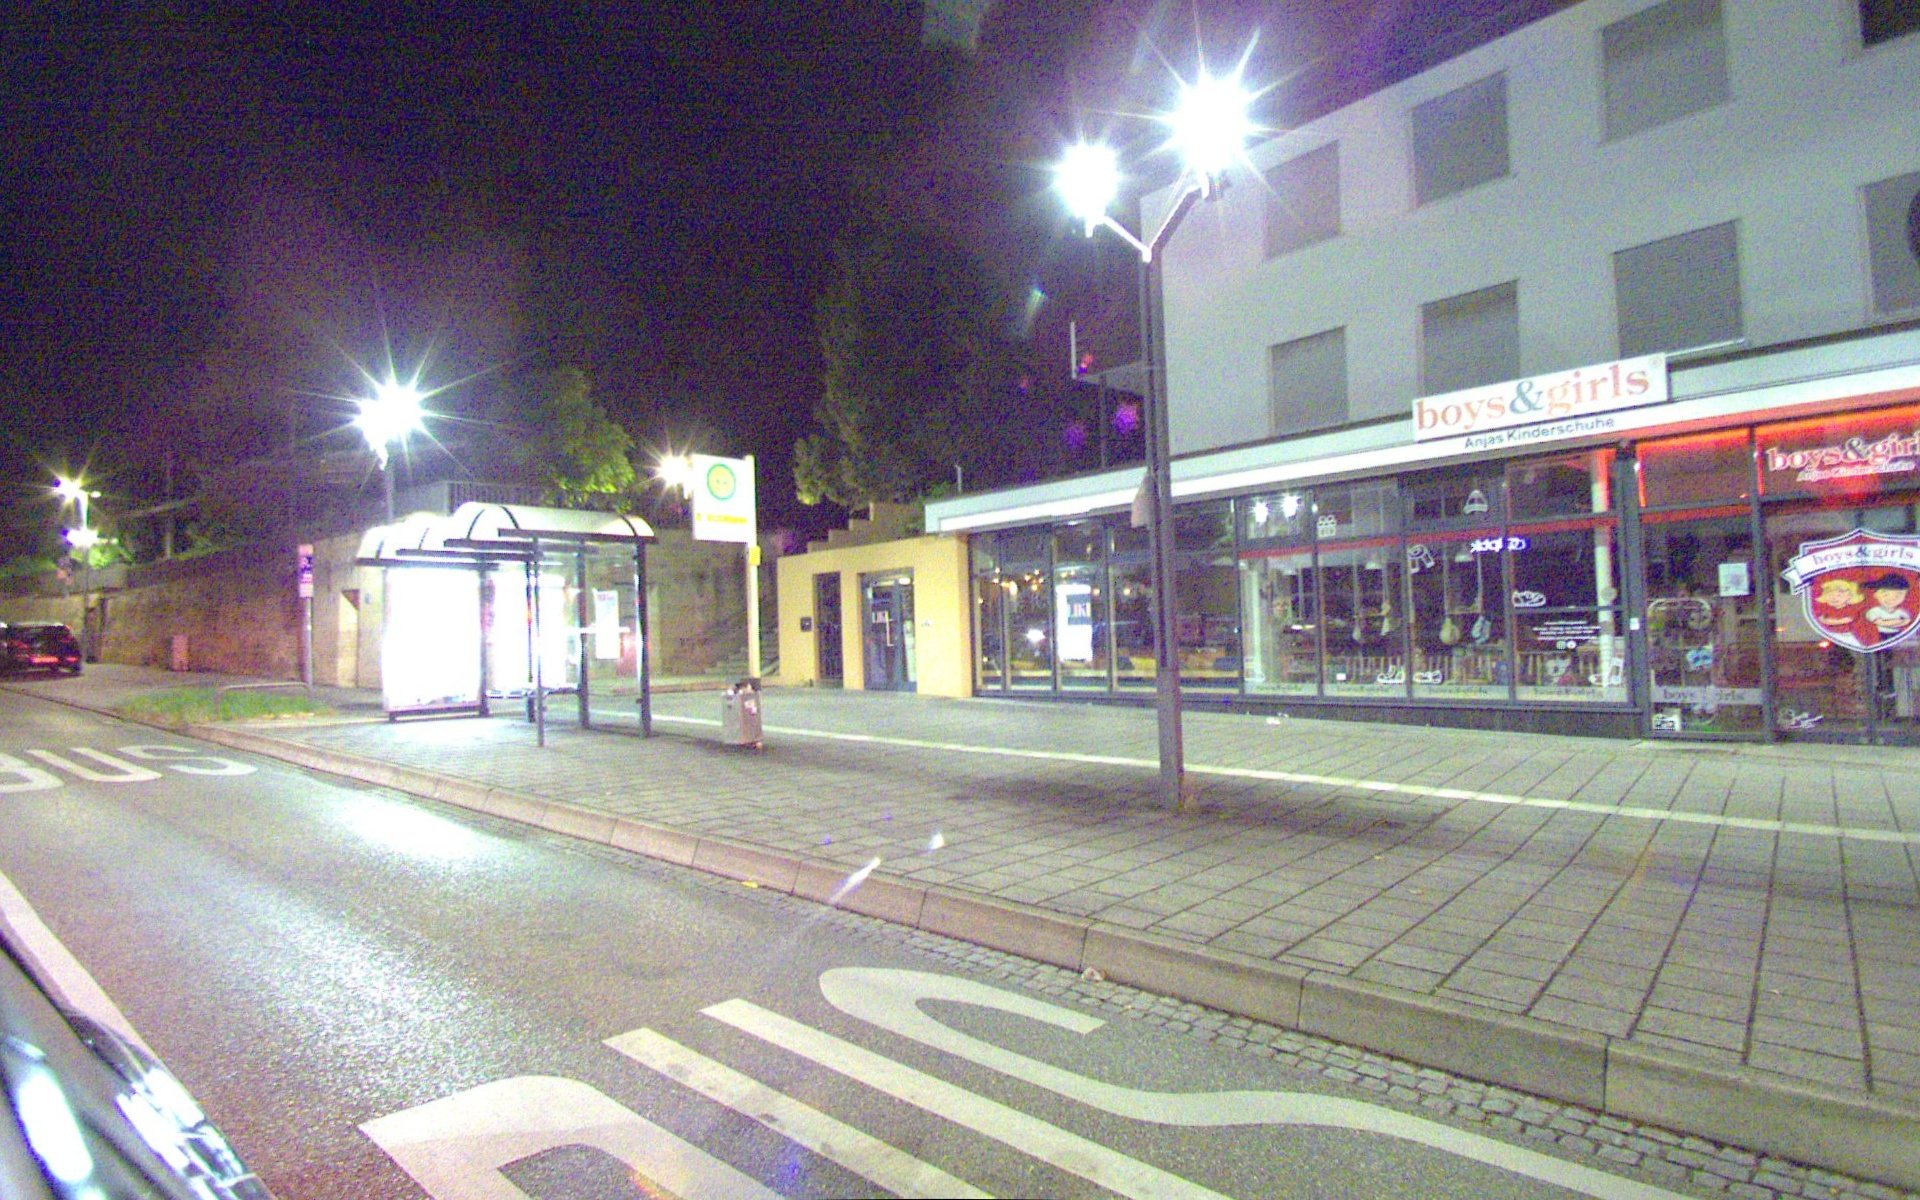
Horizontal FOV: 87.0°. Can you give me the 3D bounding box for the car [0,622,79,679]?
[{"bbox_3d":[-26.564,1.390,28.687,4.123,1.447,1.675,-1,1,39],"label":"car"}]
